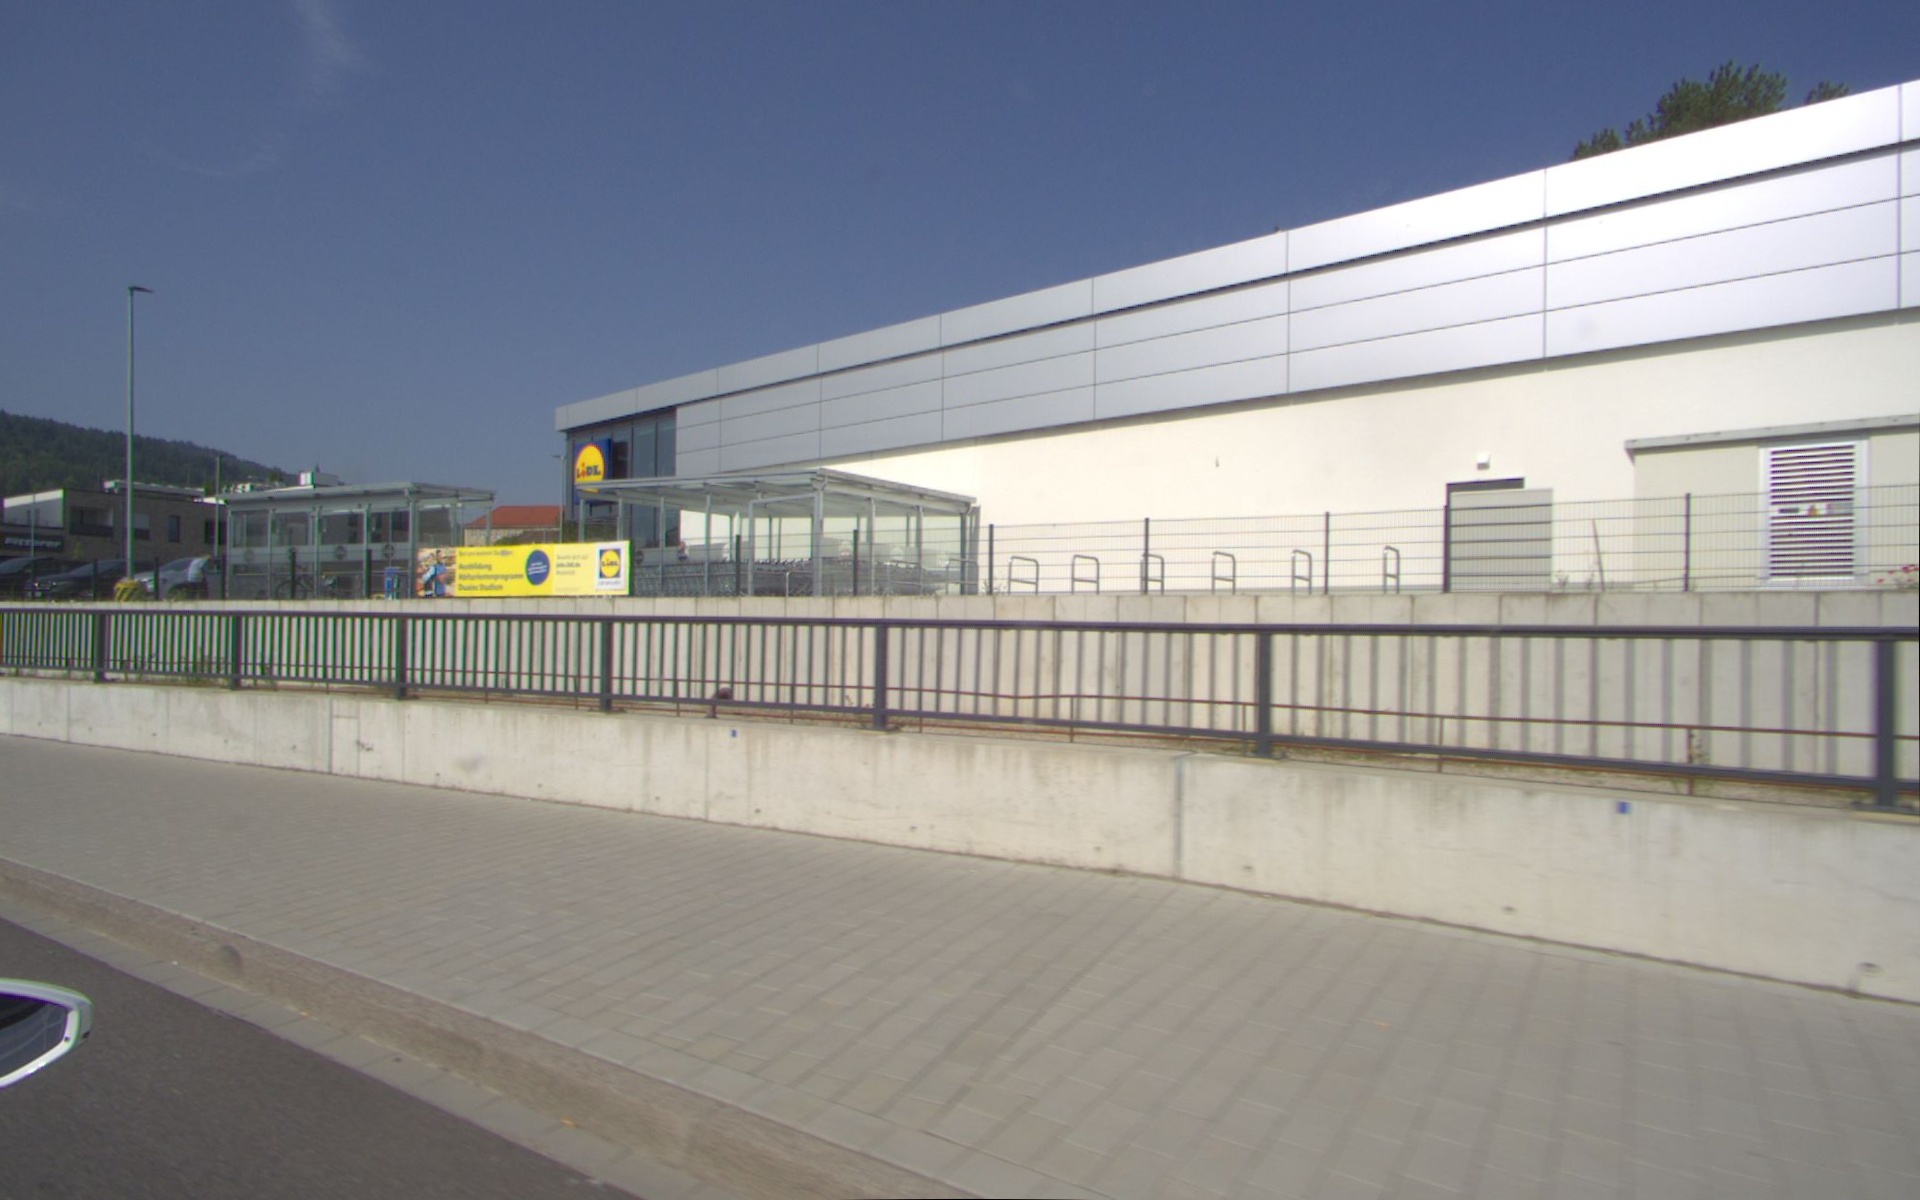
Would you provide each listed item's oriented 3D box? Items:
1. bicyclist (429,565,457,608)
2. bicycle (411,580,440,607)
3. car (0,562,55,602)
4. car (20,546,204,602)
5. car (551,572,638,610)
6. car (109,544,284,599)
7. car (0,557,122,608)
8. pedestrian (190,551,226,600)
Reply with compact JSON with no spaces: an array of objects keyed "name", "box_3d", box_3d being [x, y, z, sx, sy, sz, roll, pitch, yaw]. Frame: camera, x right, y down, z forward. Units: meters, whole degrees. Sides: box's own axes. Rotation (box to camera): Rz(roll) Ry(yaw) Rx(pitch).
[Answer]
[{"name":"bicyclist","box_3d":[-17.333,-0.447,33.584,0.710,1.441,0.431,0,0,12]},{"name":"bicycle","box_3d":[-18.007,-0.208,33.757,0.666,0.912,0.534,0,0,12]},{"name":"car","box_3d":[-32.150,-0.640,32.219,1.712,1.261,4.223,1,-2,17]},{"name":"car","box_3d":[-25.379,-0.737,30.155,1.459,1.422,4.071,1,-1,17]},{"name":"car","box_3d":[-17.062,-0.397,46.746,3.642,1.673,1.621,0,-1,20]},{"name":"car","box_3d":[-22.207,-0.792,29.289,1.650,1.382,3.814,1,-1,17]},{"name":"car","box_3d":[-28.954,-0.524,31.243,1.694,1.422,4.014,1,-1,17]},{"name":"pedestrian","box_3d":[-21.242,-0.686,28.278,0.645,1.329,0.548,0,-1,19]}]
